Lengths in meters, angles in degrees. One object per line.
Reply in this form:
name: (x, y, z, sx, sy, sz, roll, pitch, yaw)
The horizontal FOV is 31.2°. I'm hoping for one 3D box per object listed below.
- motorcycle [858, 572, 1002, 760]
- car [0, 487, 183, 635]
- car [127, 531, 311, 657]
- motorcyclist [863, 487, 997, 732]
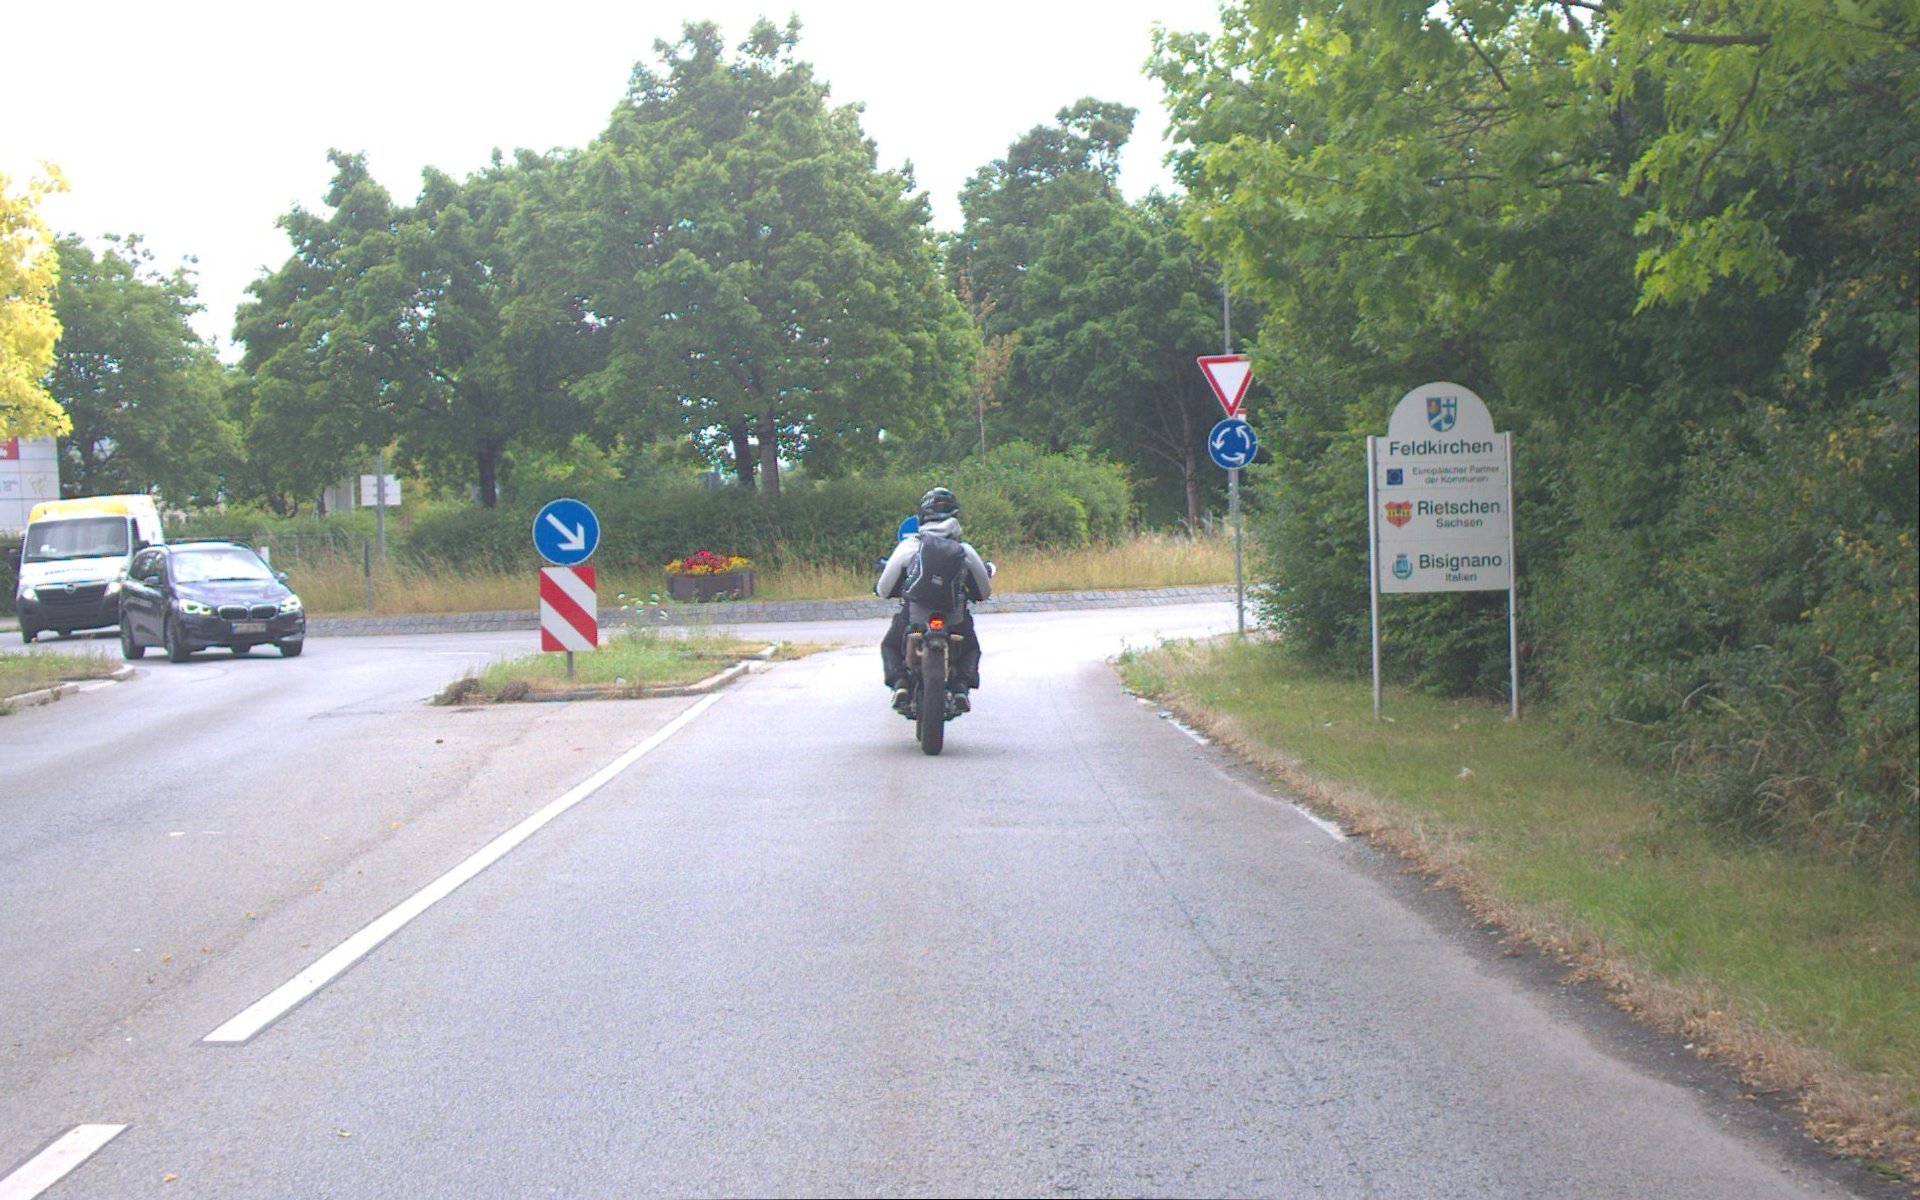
motorcycle: (-0.192, 0.414, 23.351, 0.896, 1.154, 2.620, -1, 1, 0)
car: (-15.421, -0.734, 61.115, 2.162, 2.443, 5.443, -2, 2, -3)
car: (-10.401, -0.092, 48.049, 1.738, 1.580, 4.357, -4, 1, -21)
motorcyclist: (-0.201, 0.051, 23.475, 0.861, 1.618, 1.191, -1, 1, 0)
